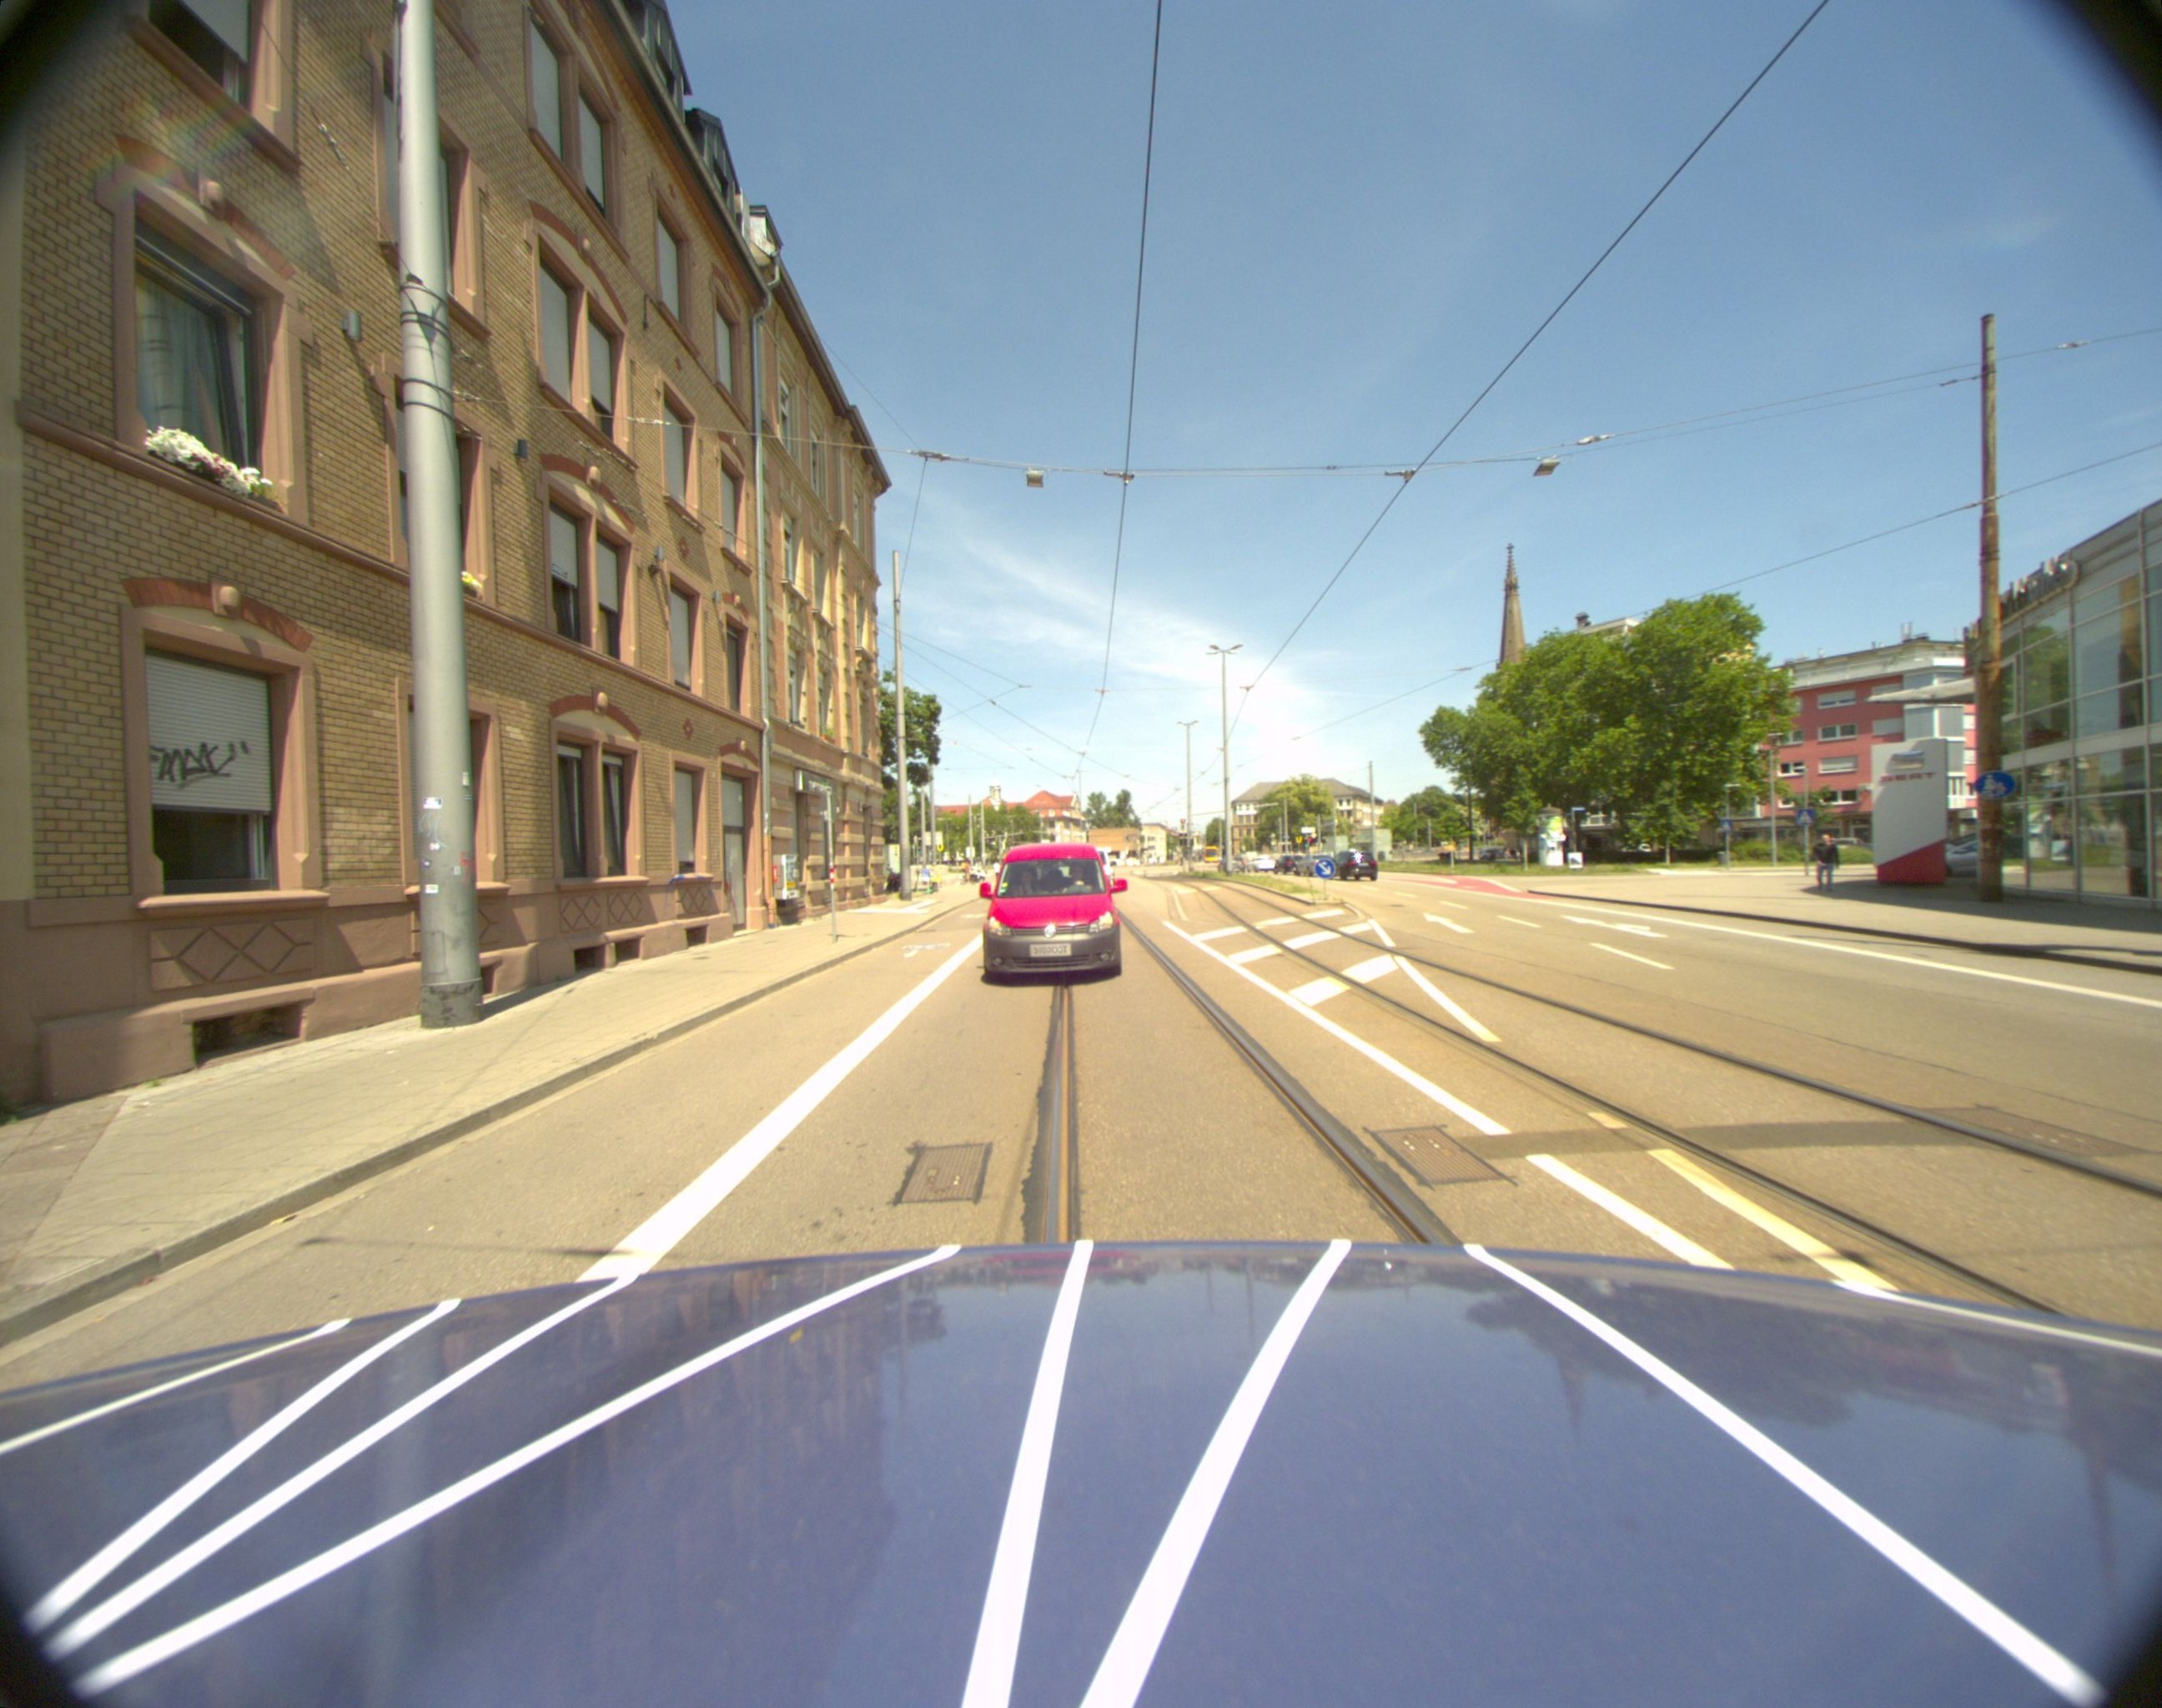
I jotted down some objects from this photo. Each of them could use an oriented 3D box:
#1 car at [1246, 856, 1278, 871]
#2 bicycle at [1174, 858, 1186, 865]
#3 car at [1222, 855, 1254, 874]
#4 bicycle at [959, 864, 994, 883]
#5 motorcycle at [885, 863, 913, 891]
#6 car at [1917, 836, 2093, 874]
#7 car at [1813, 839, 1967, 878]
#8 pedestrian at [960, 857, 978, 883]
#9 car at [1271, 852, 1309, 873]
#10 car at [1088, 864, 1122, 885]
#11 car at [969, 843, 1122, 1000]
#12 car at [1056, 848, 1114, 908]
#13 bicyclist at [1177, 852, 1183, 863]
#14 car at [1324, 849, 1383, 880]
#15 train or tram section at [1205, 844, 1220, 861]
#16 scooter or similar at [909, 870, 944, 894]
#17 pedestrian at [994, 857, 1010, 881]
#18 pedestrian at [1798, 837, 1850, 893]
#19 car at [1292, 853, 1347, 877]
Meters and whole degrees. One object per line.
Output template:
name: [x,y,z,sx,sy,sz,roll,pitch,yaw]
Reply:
car: [15.610,0.790,65.707,1.711,1.291,4.202,0,0,-1]
bicycle: [15.751,1.205,120.914,1.906,0.973,0.528,-2,0,-5]
car: [13.202,0.896,64.270,1.848,1.471,4.330,-1,-1,1]
bicycle: [-7.278,1.364,52.991,2.225,1.243,1.096,-2,0,-44]
motorcycle: [-9.333,1.149,39.015,0.765,1.354,2.595,-2,0,0]
car: [36.601,0.058,30.253,1.614,1.412,4.180,-2,0,-24]
car: [32.306,0.209,30.456,1.505,1.448,4.045,-2,0,-36]
pedestrian: [-7.756,1.097,52.507,0.826,1.765,0.812,-3,1,-44]
car: [15.298,0.614,55.804,1.675,1.453,3.903,-1,0,-1]
car: [1.624,1.377,52.793,1.572,1.346,3.455,-2,0,-12]
car: [-0.417,0.809,11.037,1.755,1.802,4.097,-2,0,0]
car: [0.166,0.807,27.344,1.874,1.954,3.823,-2,0,1]
bicyclist: [15.731,0.526,120.982,0.813,1.678,0.528,-2,0,-5]
car: [15.068,0.579,42.201,1.826,1.617,4.526,-1,0,3]
train or tram section: [25.981,-0.232,150.643,2.840,3.195,9.116,-2,0,9]
scooter or similar: [-7.685,1.377,37.711,1.527,1.148,0.713,-2,0,-29]
pedestrian: [-6.004,1.127,57.950,0.808,1.769,0.876,-2,0,32]
pedestrian: [22.059,0.329,22.582,0.729,1.632,0.820,-2,0,3]
car: [15.645,0.676,50.183,1.999,1.521,5.131,0,0,0]
